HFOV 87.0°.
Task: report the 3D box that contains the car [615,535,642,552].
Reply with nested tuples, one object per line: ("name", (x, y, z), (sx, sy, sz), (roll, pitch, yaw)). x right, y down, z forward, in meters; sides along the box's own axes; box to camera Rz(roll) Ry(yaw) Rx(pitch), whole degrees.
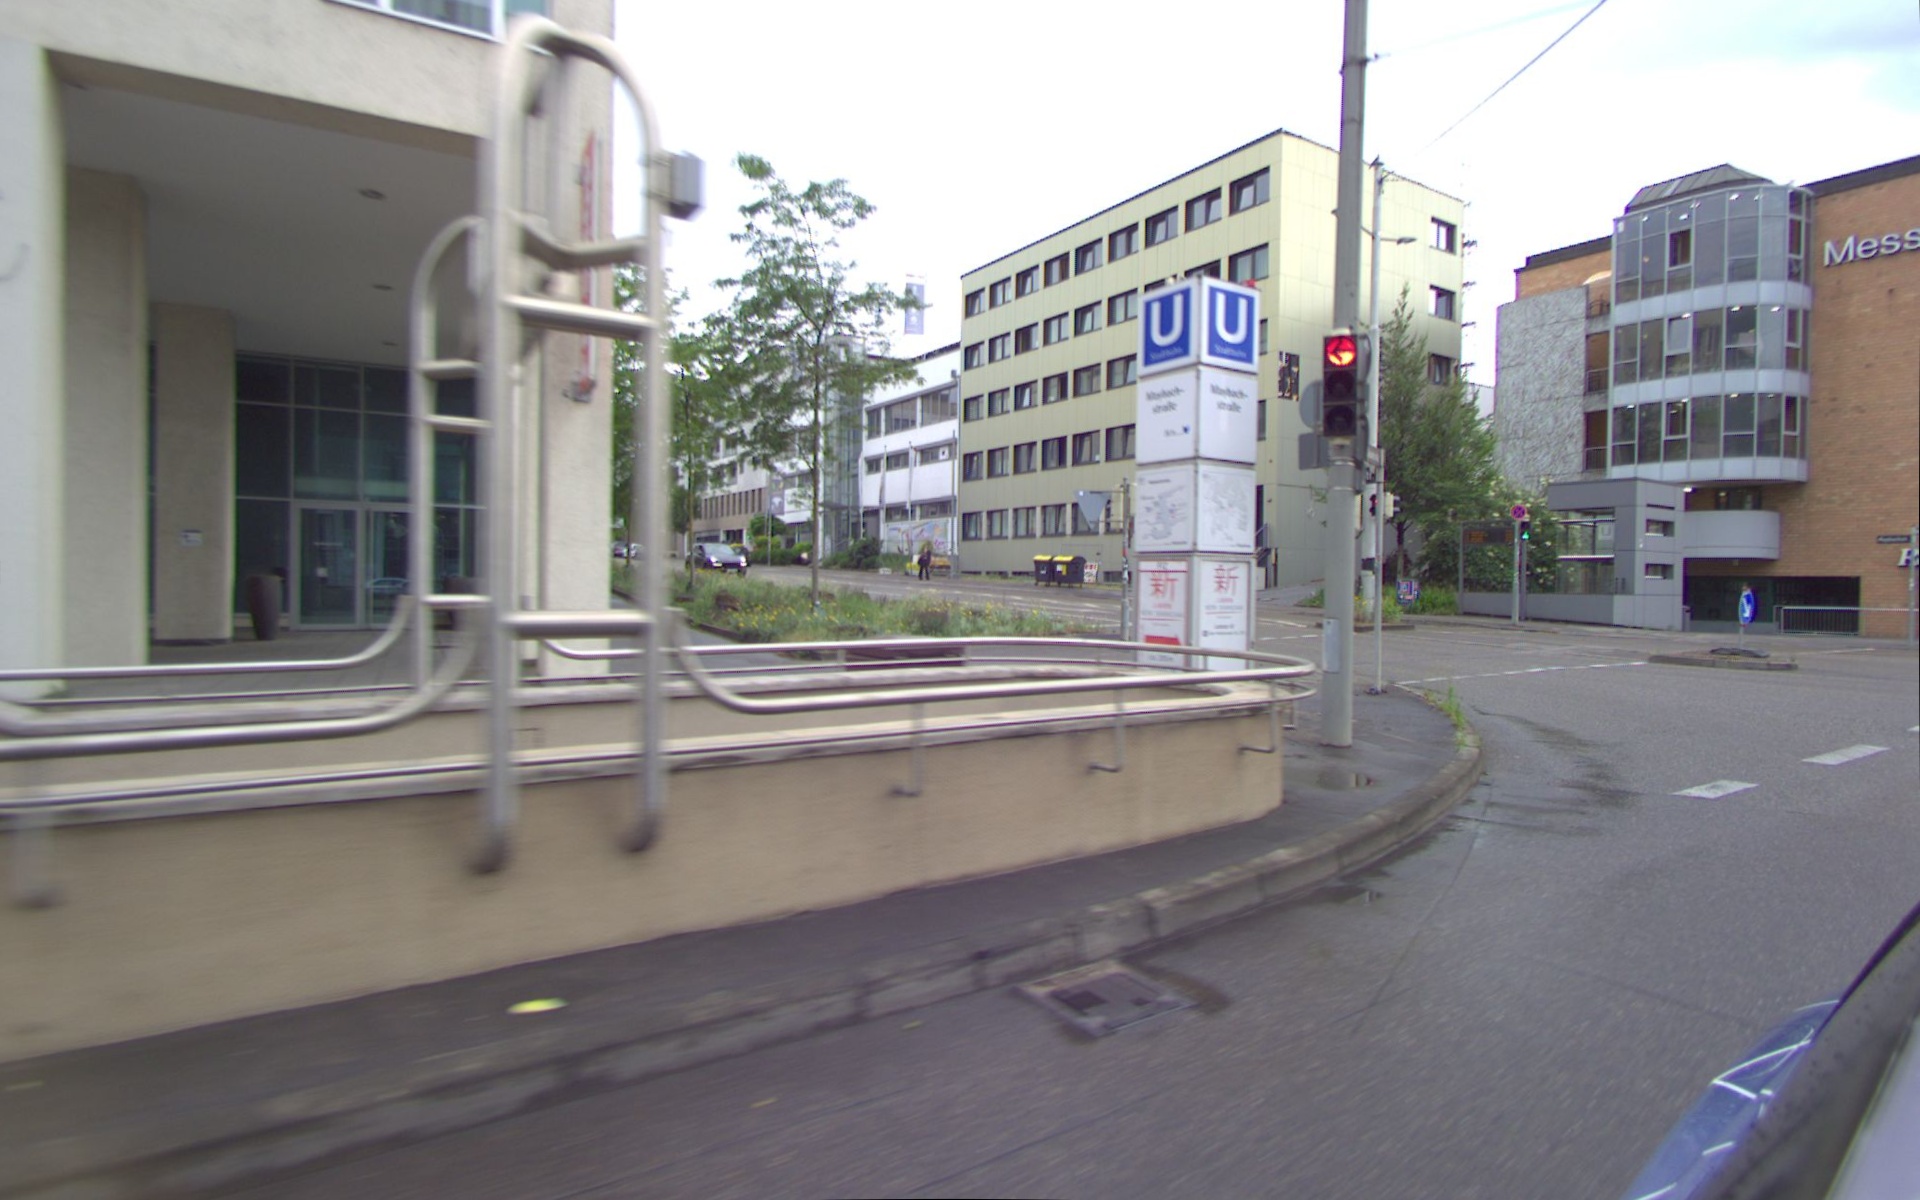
("car", (-32.486, -5.529, 99.032), (1.567, 1.486, 3.425), (3, 2, -34))

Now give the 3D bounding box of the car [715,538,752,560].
("car", (-16.840, -3.794, 75.159), (1.491, 1.528, 2.982), (2, 2, -37))

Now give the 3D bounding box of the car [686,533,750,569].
("car", (-11.873, -2.438, 49.529), (1.960, 1.592, 4.007), (-2, 5, -30))

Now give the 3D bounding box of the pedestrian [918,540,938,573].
("pedestrian", (-1.785, -2.399, 55.855), (0.743, 1.752, 0.943), (-2, 5, -33))

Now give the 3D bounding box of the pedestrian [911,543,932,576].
("pedestrian", (-2.044, -2.165, 53.342), (0.754, 1.696, 0.970), (-2, 5, -31))

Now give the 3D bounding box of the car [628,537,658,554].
("car", (-29.839, -5.105, 95.173), (1.631, 1.408, 3.743), (2, 3, -34))

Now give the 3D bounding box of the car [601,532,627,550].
("car", (-35.287, -6.019, 103.139), (1.599, 1.638, 3.977), (3, 2, -33))

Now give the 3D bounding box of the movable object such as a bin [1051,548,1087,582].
("movable object such as a bin", (4.944, -1.589, 46.016), (1.037, 1.462, 1.360), (-3, 5, -30))

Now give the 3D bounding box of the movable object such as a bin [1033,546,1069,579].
("movable object such as a bin", (4.233, -1.765, 47.336), (1.037, 1.462, 1.432), (-3, 5, -30))
